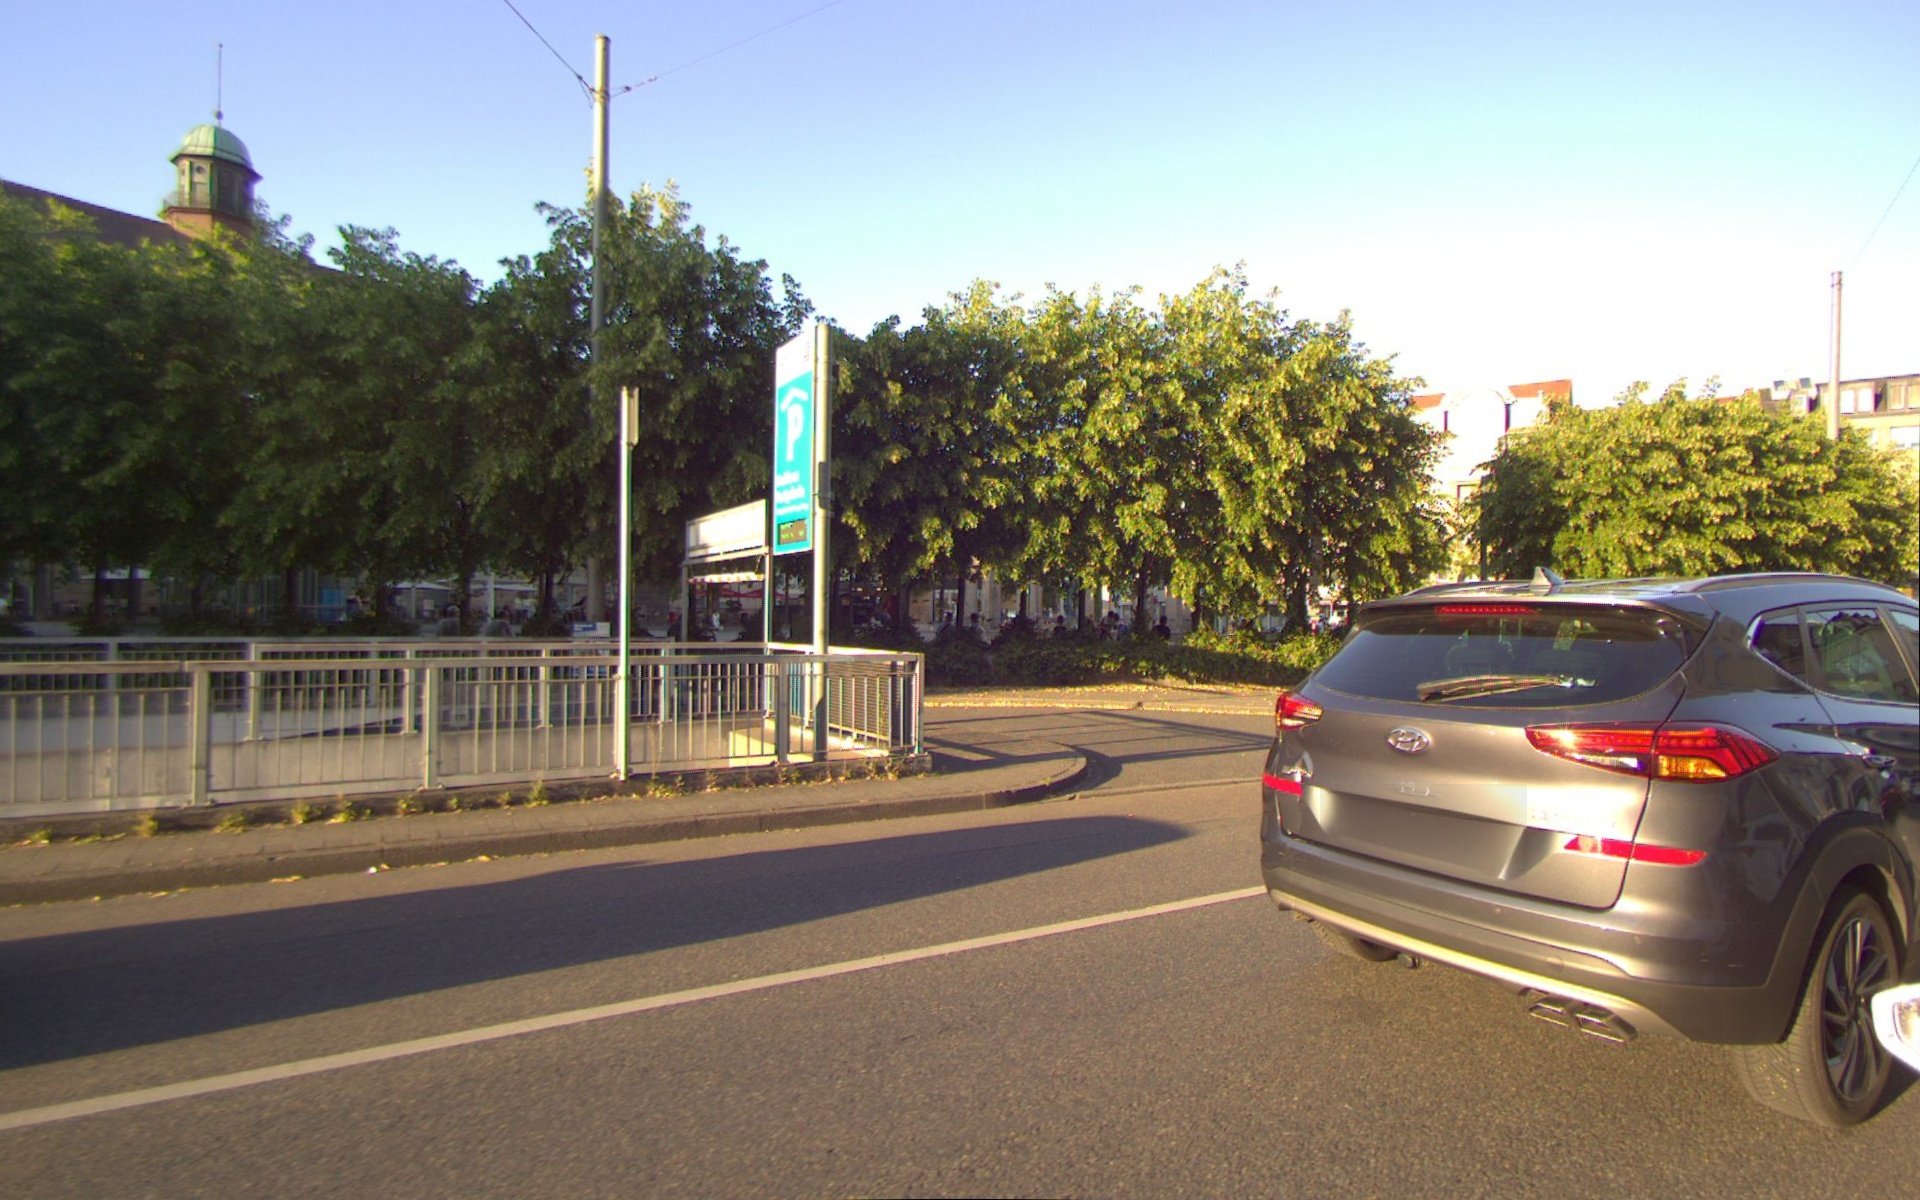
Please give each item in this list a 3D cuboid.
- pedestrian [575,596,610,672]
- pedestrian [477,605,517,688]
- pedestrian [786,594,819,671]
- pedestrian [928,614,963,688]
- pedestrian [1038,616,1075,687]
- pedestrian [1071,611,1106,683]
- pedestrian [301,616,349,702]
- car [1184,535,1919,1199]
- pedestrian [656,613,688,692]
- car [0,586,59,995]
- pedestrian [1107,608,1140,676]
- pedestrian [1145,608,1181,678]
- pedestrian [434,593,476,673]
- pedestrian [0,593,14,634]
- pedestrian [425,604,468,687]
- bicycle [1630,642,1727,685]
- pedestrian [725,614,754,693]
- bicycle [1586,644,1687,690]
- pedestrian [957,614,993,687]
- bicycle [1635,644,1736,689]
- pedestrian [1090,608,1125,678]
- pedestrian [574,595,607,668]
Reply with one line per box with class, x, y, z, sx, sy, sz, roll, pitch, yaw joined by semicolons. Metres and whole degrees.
pedestrian;-8.003;0.736;21.895;0.558;1.616;0.791;1;0;-11
pedestrian;-9.201;0.912;19.970;0.558;1.616;0.678;1;0;-11
pedestrian;-3.365;0.682;21.427;0.665;1.616;0.678;1;0;-11
pedestrian;-0.338;1.124;22.505;0.665;1.616;0.678;1;0;-11
pedestrian;2.213;1.175;23.100;0.665;1.616;0.678;1;0;-11
pedestrian;2.936;1.061;23.042;0.558;1.616;0.791;1;0;-11
pedestrian;-12.217;1.126;19.342;0.558;1.616;0.678;1;0;-11
car;3.124;0.713;4.319;4.058;1.671;1.887;1;-1;-31
pedestrian;-5.964;1.074;20.832;0.558;1.616;0.678;1;0;-11
car;-5.312;0.704;2.771;3.906;1.572;1.683;1;-3;-31
pedestrian;3.961;0.999;24.371;0.558;1.616;0.791;1;0;-11
pedestrian;4.762;1.002;23.627;0.558;1.616;0.791;1;0;-11
pedestrian;-10.379;0.674;20.662;0.558;1.616;0.791;1;0;-11
pedestrian;-26.852;0.382;27.971;0.703;1.135;0.609;1;0;35
pedestrian;-10.141;0.884;19.858;0.558;1.616;0.678;1;0;-11
bicycle;17.281;1.515;24.204;0.479;0.864;1.814;1;2;-33
pedestrian;-4.609;1.112;21.035;0.558;1.616;0.678;1;0;-11
bicycle;15.143;1.483;22.538;0.479;0.864;1.814;1;2;-33
pedestrian;0.328;1.125;22.637;0.665;1.616;0.678;1;0;-11
bicycle;16.777;1.519;23.268;0.479;0.864;1.814;1;2;-33
pedestrian;3.451;1.001;23.524;0.558;1.616;0.791;1;0;-11
pedestrian;-8.340;0.709;22.684;0.558;1.616;0.791;1;0;-11
